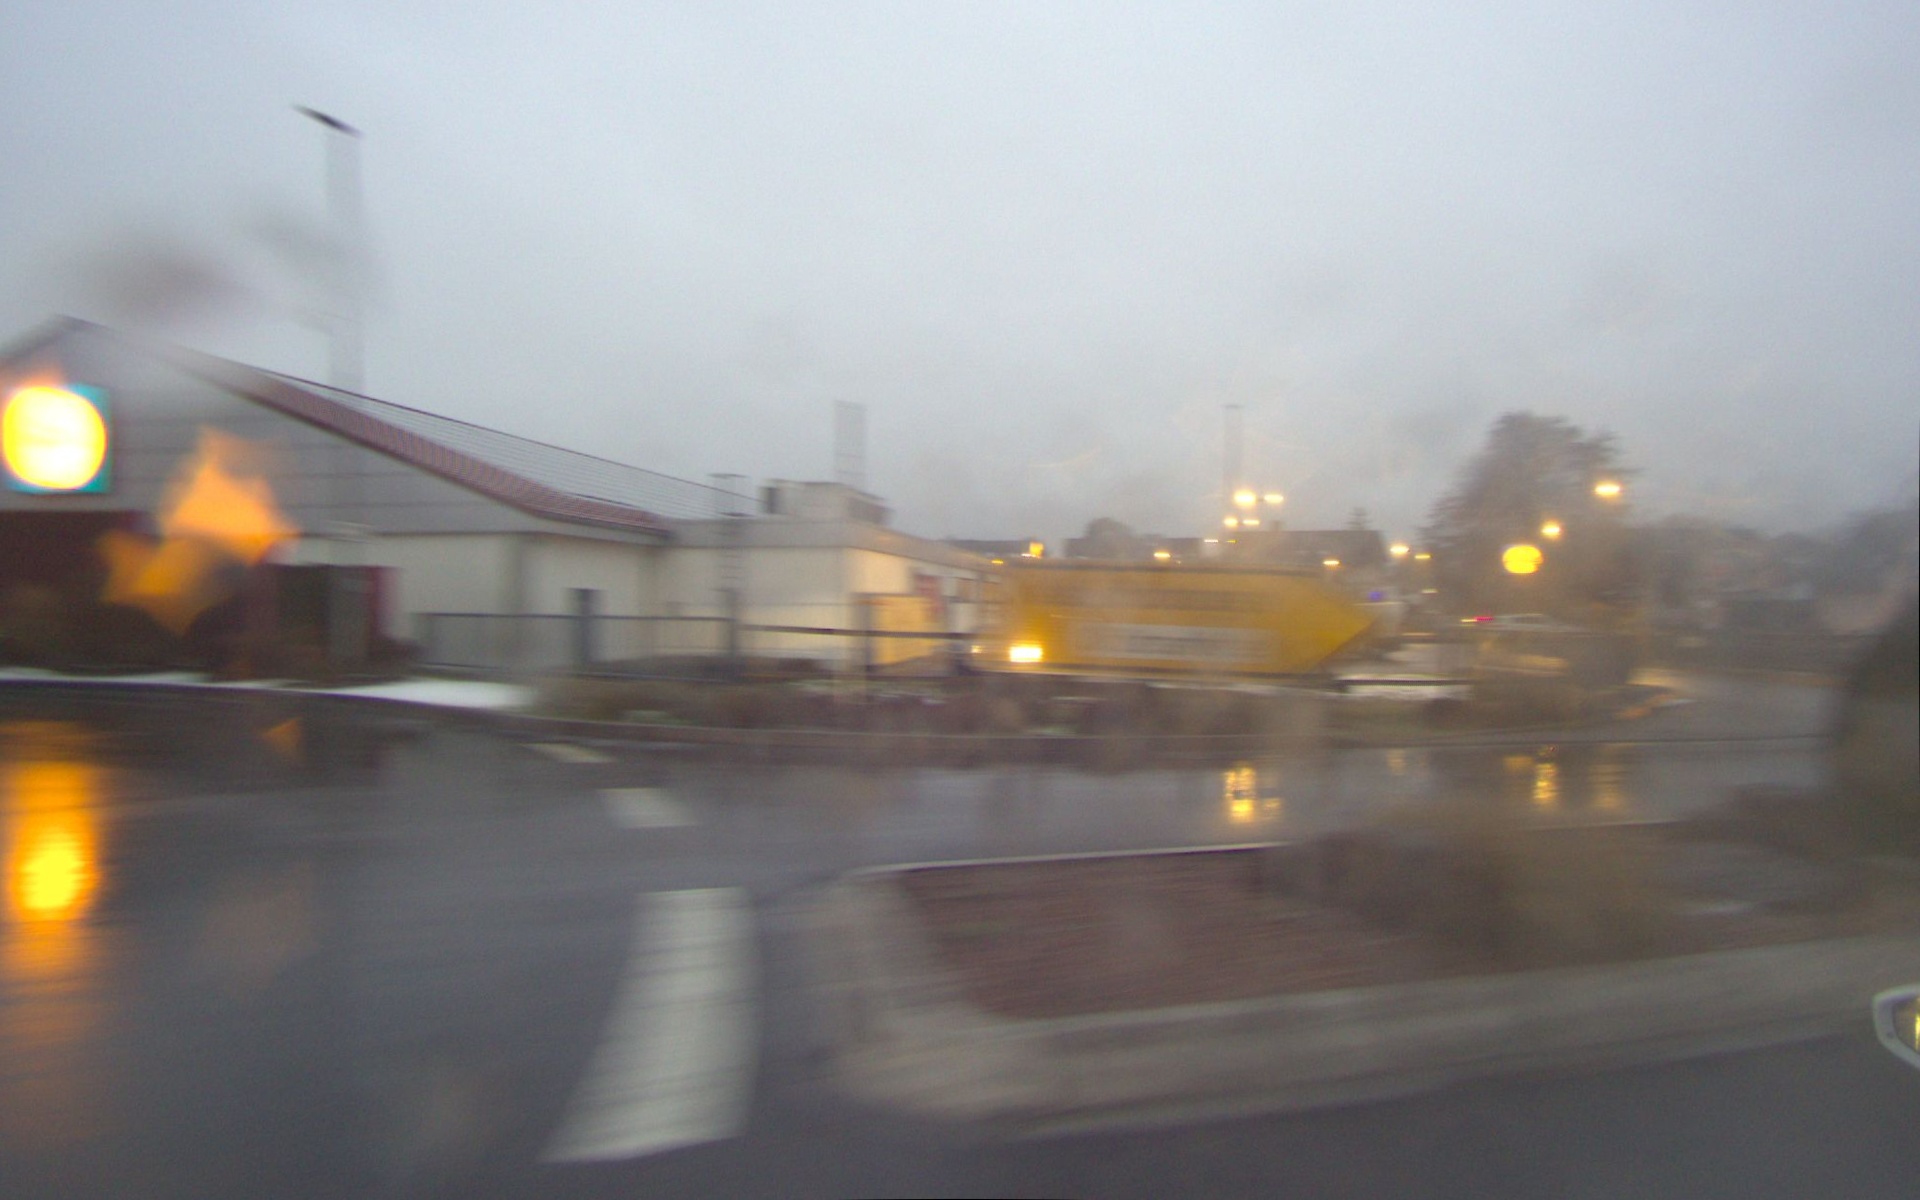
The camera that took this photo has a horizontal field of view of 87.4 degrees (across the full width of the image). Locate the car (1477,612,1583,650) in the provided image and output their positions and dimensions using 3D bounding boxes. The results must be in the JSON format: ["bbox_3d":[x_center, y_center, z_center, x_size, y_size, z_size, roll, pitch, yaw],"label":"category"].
[{"bbox_3d":[28.268,1.522,49.927,4.268,1.771,1.707,0,0,14],"label":"car"}]

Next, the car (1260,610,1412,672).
[{"bbox_3d":[14.968,1.599,40.249,5.313,2.162,2.034,2,1,8],"label":"car"}]

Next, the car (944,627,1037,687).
[{"bbox_3d":[0.923,1.500,27.629,1.804,1.329,4.002,2,1,12],"label":"car"}]

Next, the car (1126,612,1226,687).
[{"bbox_3d":[5.572,1.171,25.491,2.024,1.582,4.281,2,1,18],"label":"car"}]
